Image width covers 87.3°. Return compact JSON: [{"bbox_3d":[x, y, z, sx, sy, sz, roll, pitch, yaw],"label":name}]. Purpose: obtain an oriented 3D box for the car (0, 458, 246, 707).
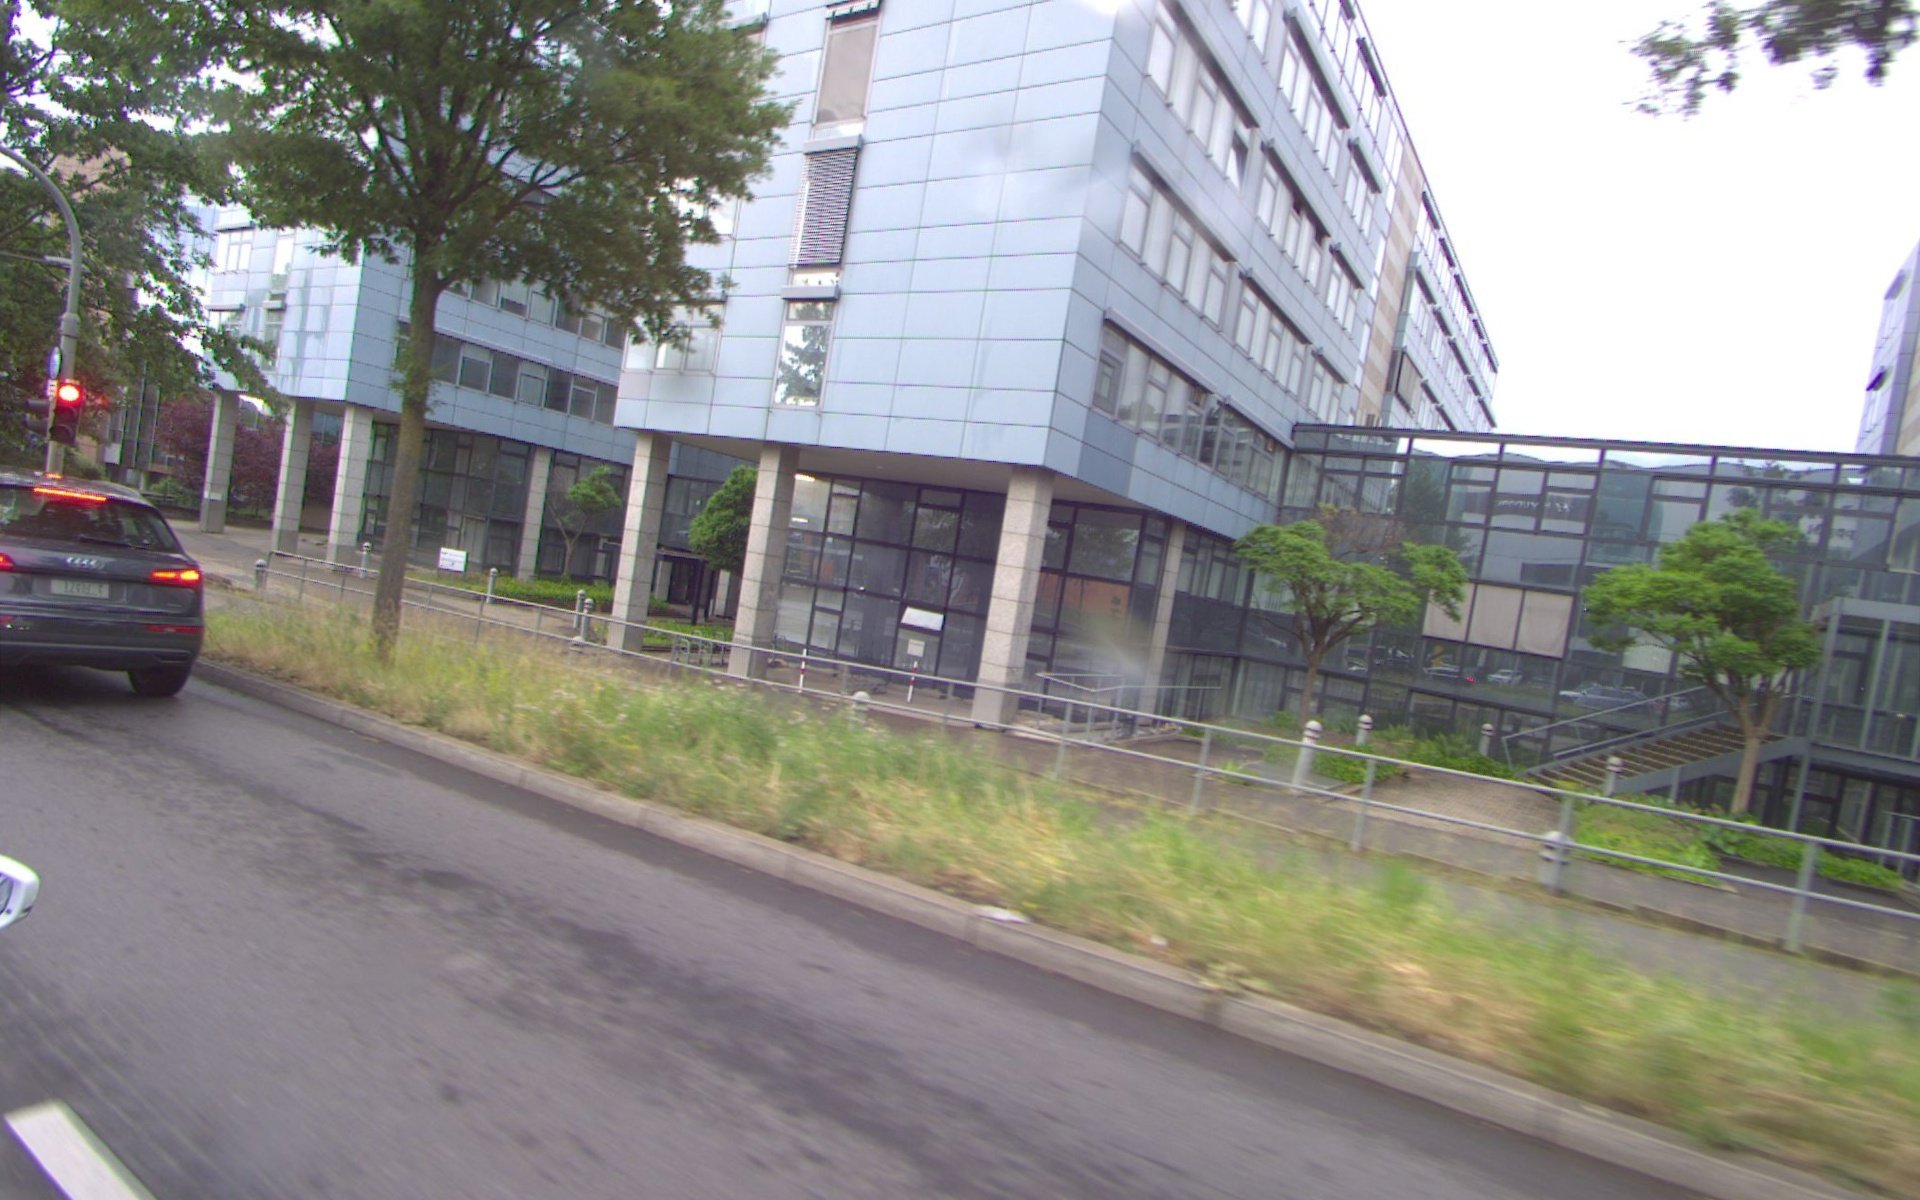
[{"bbox_3d":[-7.916,-0.304,8.144,4.396,1.632,1.820,7,-1,32],"label":"car"}]
